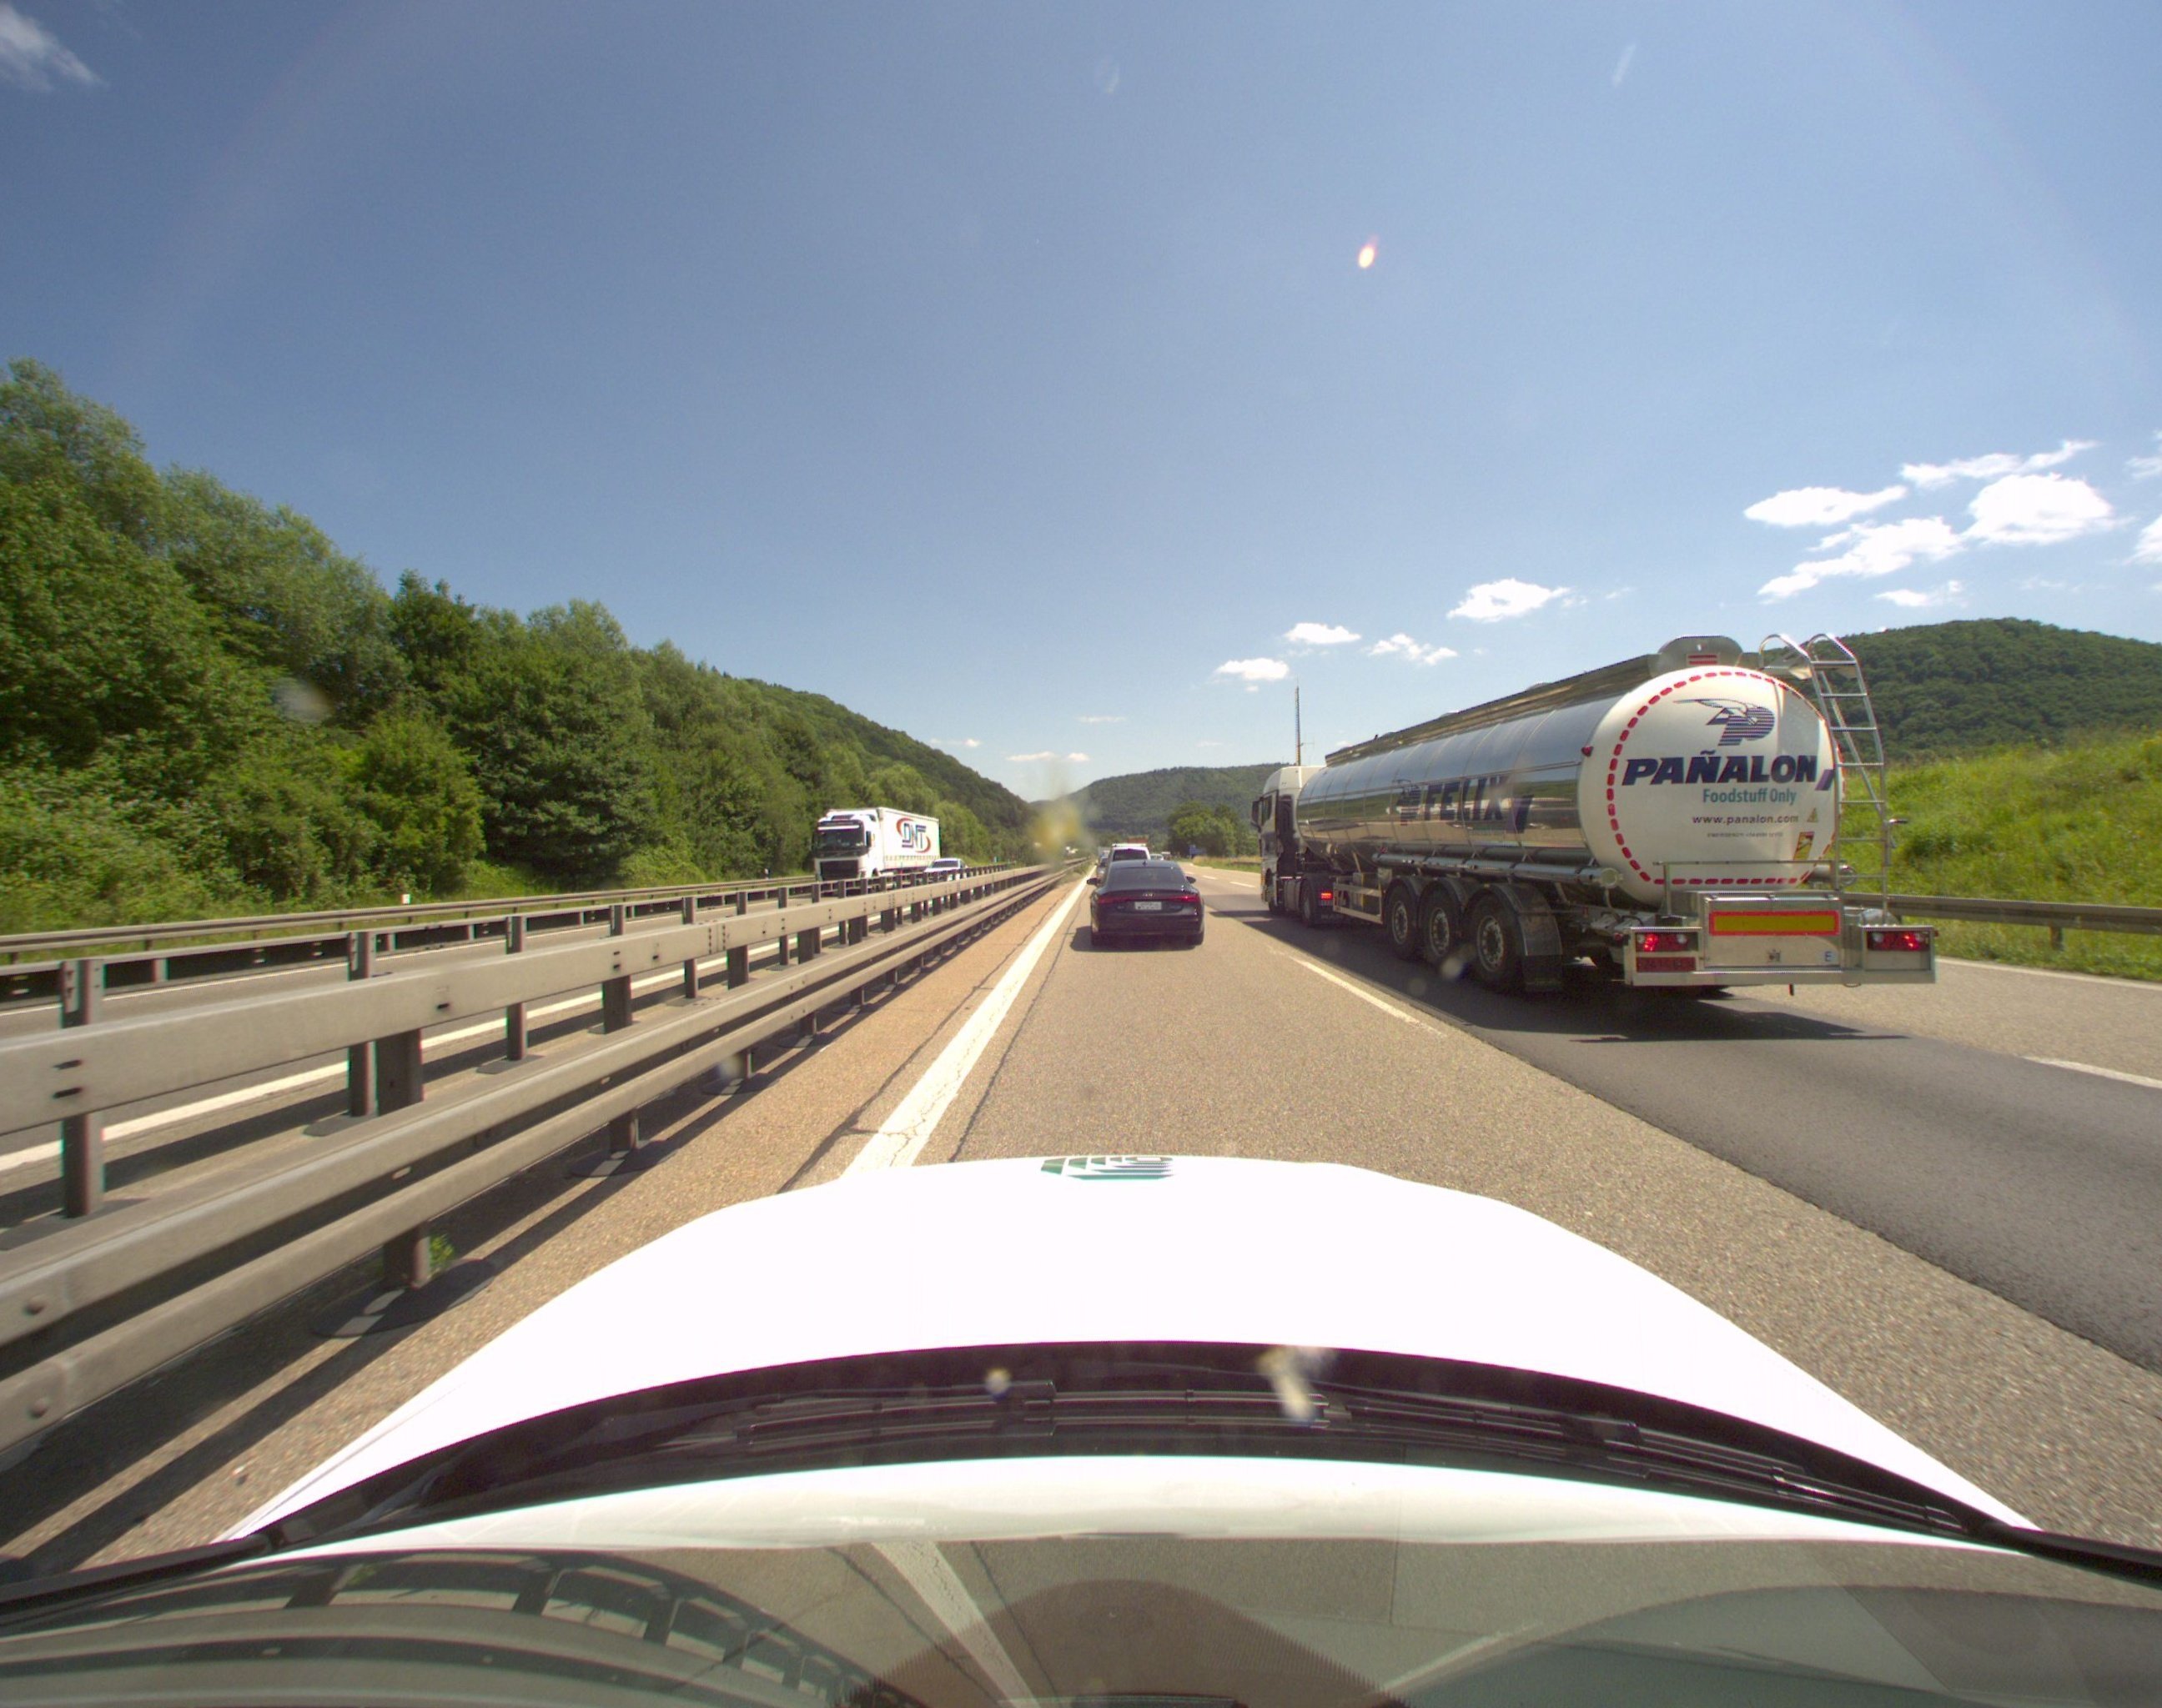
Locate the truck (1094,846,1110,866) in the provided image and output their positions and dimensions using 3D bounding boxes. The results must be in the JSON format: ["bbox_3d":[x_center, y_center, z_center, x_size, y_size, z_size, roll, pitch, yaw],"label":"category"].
[{"bbox_3d":[3.803,0.334,147.727,2.618,3.440,11.426,-1,0,2],"label":"truck"}]

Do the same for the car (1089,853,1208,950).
[{"bbox_3d":[1.074,0.750,14.690,1.843,1.488,4.083,0,0,1],"label":"car"}]

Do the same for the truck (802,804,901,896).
[{"bbox_3d":[-10.820,-0.165,39.033,2.898,4.102,5.850,0,0,2],"label":"truck"}]

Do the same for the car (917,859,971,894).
[{"bbox_3d":[-6.382,1.023,38.300,1.740,1.518,4.001,0,0,2],"label":"car"}]

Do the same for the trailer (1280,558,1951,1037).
[{"bbox_3d":[5.620,-0.421,12.315,2.529,3.735,11.893,0,0,1],"label":"trailer"}]

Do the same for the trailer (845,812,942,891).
[{"bbox_3d":[-10.626,-0.101,47.666,2.846,4.076,11.265,0,0,1],"label":"trailer"}]

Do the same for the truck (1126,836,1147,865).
[{"bbox_3d":[8.346,-0.464,123.382,2.806,4.003,14.963,0,0,2],"label":"truck"}]

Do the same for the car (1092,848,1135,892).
[{"bbox_3d":[1.591,0.746,39.980,1.986,2.014,4.001,0,0,1],"label":"car"}]

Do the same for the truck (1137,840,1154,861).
[{"bbox_3d":[13.332,-0.659,169.280,2.806,4.003,14.963,0,0,2],"label":"truck"}]

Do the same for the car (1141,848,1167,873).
[{"bbox_3d":[6.148,0.560,69.003,1.986,2.013,4.001,-1,0,2],"label":"car"}]

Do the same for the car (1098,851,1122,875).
[{"bbox_3d":[2.549,0.801,71.615,1.986,2.014,4.001,-1,0,1],"label":"car"}]

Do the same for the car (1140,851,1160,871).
[{"bbox_3d":[7.221,0.754,85.517,1.985,2.003,4.003,-1,0,3],"label":"car"}]

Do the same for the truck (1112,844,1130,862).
[{"bbox_3d":[10.420,-0.191,212.241,3.775,4.414,14.979,-2,0,6],"label":"truck"}]

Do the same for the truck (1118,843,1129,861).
[{"bbox_3d":[8.162,-0.316,157.424,1.986,3.447,11.815,0,0,2],"label":"truck"}]

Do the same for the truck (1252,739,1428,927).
[{"bbox_3d":[5.753,-0.418,18.984,2.502,3.758,5.246,0,0,1],"label":"truck"}]

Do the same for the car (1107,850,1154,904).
[{"bbox_3d":[1.742,0.792,29.692,1.570,1.833,4.001,0,0,1],"label":"car"}]

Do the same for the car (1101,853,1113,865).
[{"bbox_3d":[3.713,0.714,115.990,1.705,1.618,4.003,-1,0,3],"label":"car"}]
